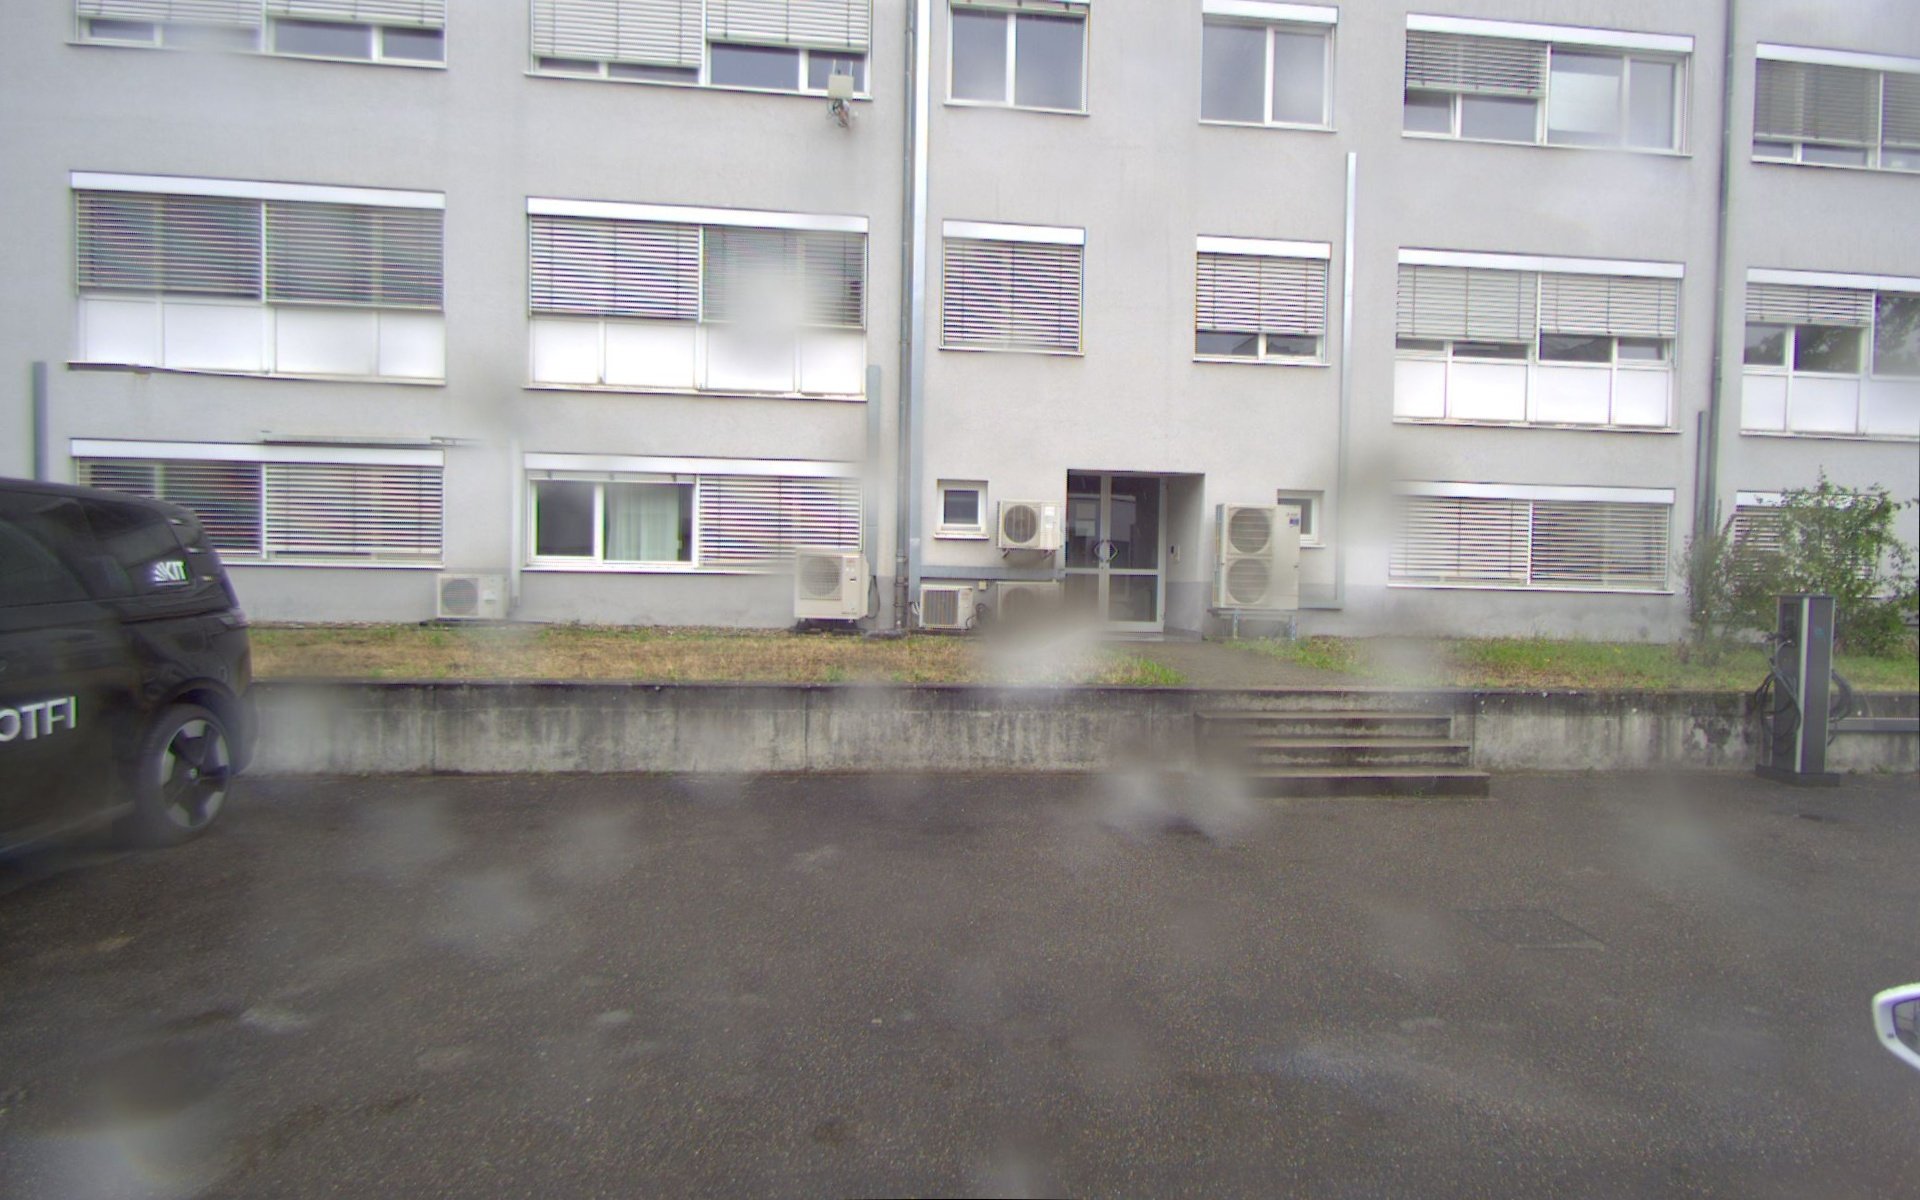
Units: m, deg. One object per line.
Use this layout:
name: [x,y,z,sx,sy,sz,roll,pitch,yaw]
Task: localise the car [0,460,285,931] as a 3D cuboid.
car: [-4.892,0.385,3.820,2.008,1.923,4.516,1,1,-7]
